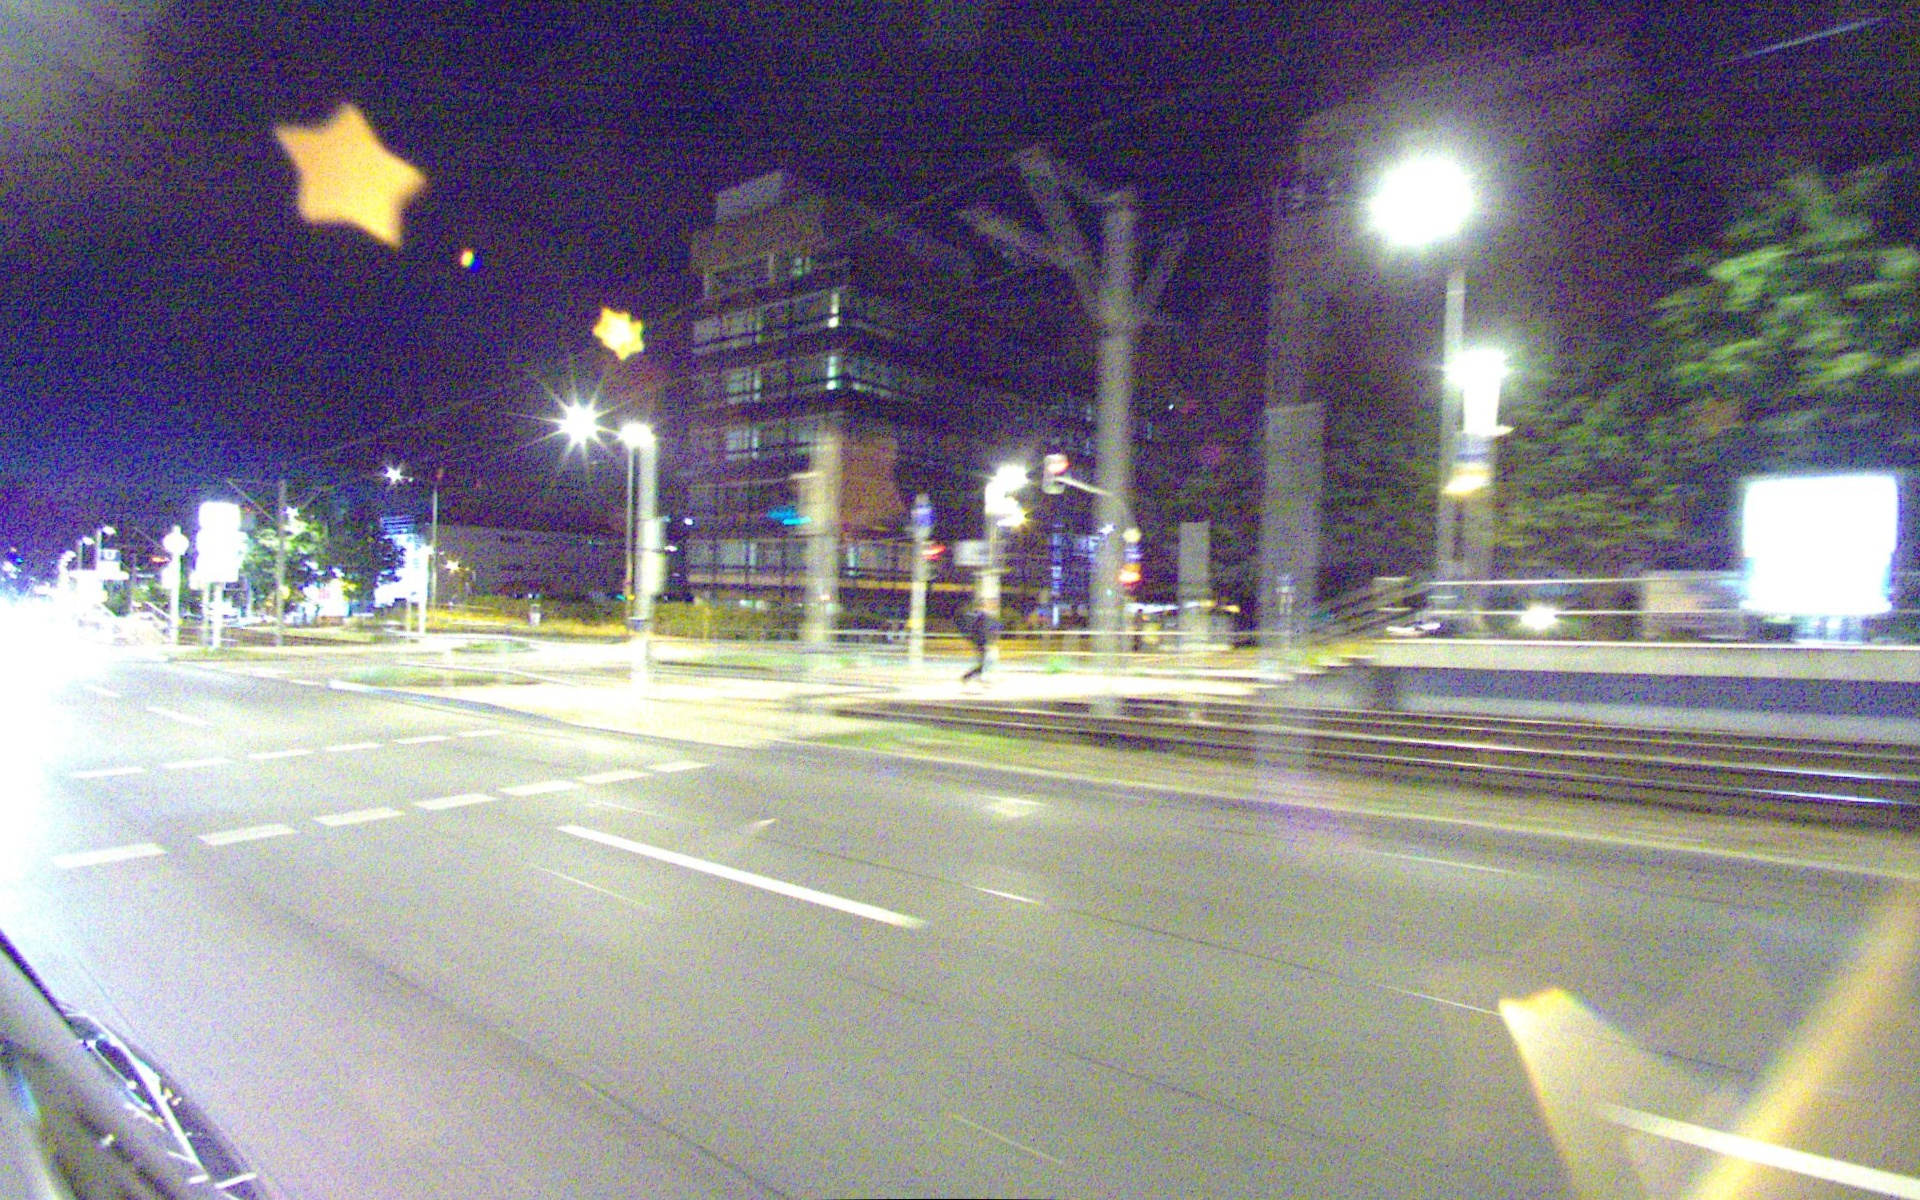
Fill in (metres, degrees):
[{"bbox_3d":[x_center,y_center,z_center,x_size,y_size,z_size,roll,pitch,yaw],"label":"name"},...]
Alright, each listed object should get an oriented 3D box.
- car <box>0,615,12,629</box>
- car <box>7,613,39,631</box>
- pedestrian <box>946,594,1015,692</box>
[{"bbox_3d":[-115.622,2.639,122.061,1.802,1.719,4.003,0,-1,-44],"label":"car"},{"bbox_3d":[-87.410,2.057,94.381,3.719,1.630,1.882,-1,-1,43],"label":"car"},{"bbox_3d":[0.355,0.762,18.059,1.038,1.701,0.823,1,-2,-13],"label":"pedestrian"}]
